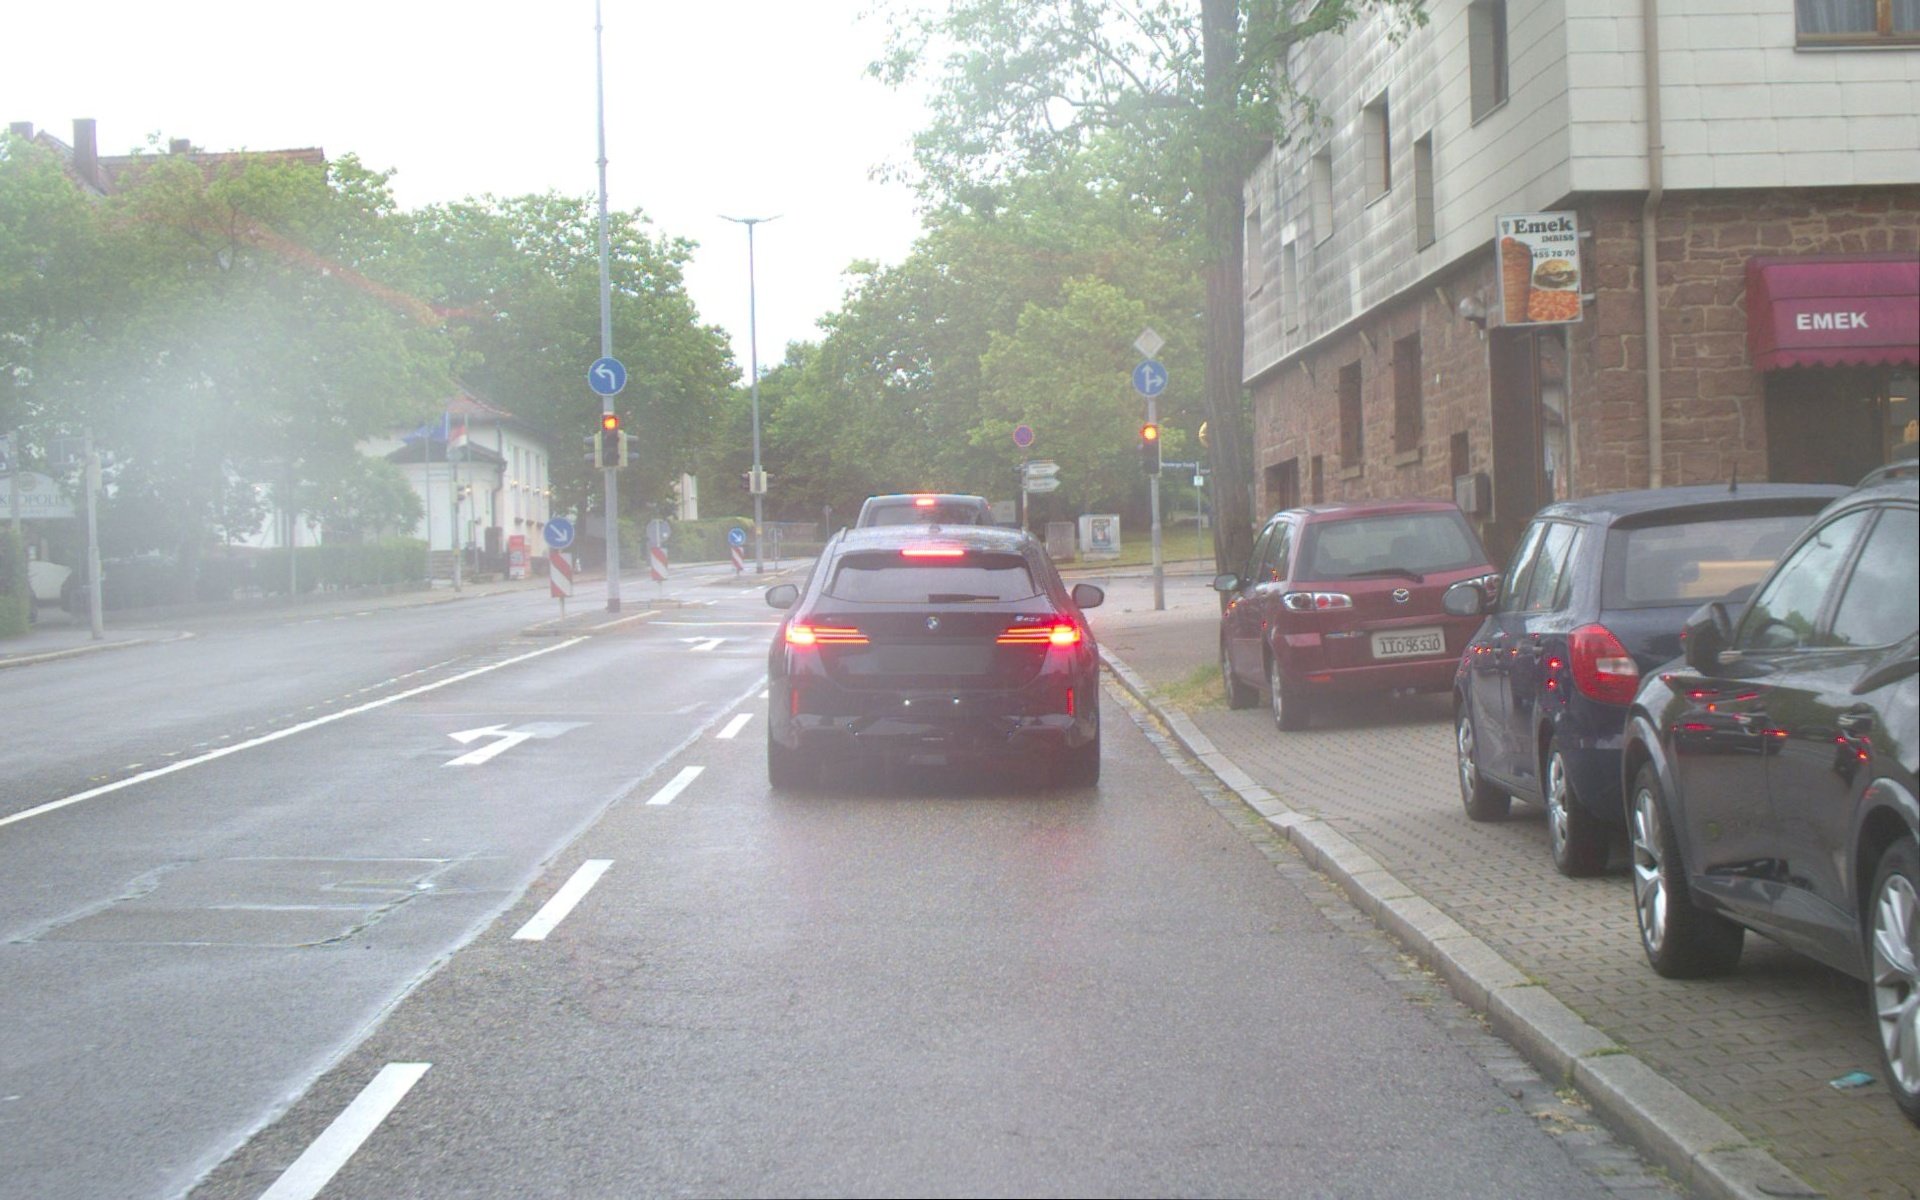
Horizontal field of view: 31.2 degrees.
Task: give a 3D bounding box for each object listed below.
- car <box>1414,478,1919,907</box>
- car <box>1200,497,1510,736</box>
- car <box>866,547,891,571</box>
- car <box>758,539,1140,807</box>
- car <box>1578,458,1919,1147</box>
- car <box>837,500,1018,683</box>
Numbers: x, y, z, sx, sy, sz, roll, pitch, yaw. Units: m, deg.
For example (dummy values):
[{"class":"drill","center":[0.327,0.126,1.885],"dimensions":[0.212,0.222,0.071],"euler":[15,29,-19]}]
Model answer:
[{"class":"car","center":[3.006,0.289,14.343],"dimensions":[1.604,1.467,3.856],"euler":[-4,1,0]},{"class":"car","center":[2.733,0.064,24.473],"dimensions":[1.584,1.485,3.628],"euler":[-4,1,-2]},{"class":"car","center":[-4.860,-2.484,206.123],"dimensions":[1.464,1.393,3.321],"euler":[0,1,-1]},{"class":"car","center":[-0.143,0.373,20.927],"dimensions":[2.064,1.441,4.483],"euler":[1,1,-2]},{"class":"car","center":[2.896,0.370,8.970],"dimensions":[1.714,1.493,4.183],"euler":[-3,1,0]},{"class":"car","center":[-0.383,-0.123,36.103],"dimensions":[1.783,1.811,4.000],"euler":[0,1,-2]}]
